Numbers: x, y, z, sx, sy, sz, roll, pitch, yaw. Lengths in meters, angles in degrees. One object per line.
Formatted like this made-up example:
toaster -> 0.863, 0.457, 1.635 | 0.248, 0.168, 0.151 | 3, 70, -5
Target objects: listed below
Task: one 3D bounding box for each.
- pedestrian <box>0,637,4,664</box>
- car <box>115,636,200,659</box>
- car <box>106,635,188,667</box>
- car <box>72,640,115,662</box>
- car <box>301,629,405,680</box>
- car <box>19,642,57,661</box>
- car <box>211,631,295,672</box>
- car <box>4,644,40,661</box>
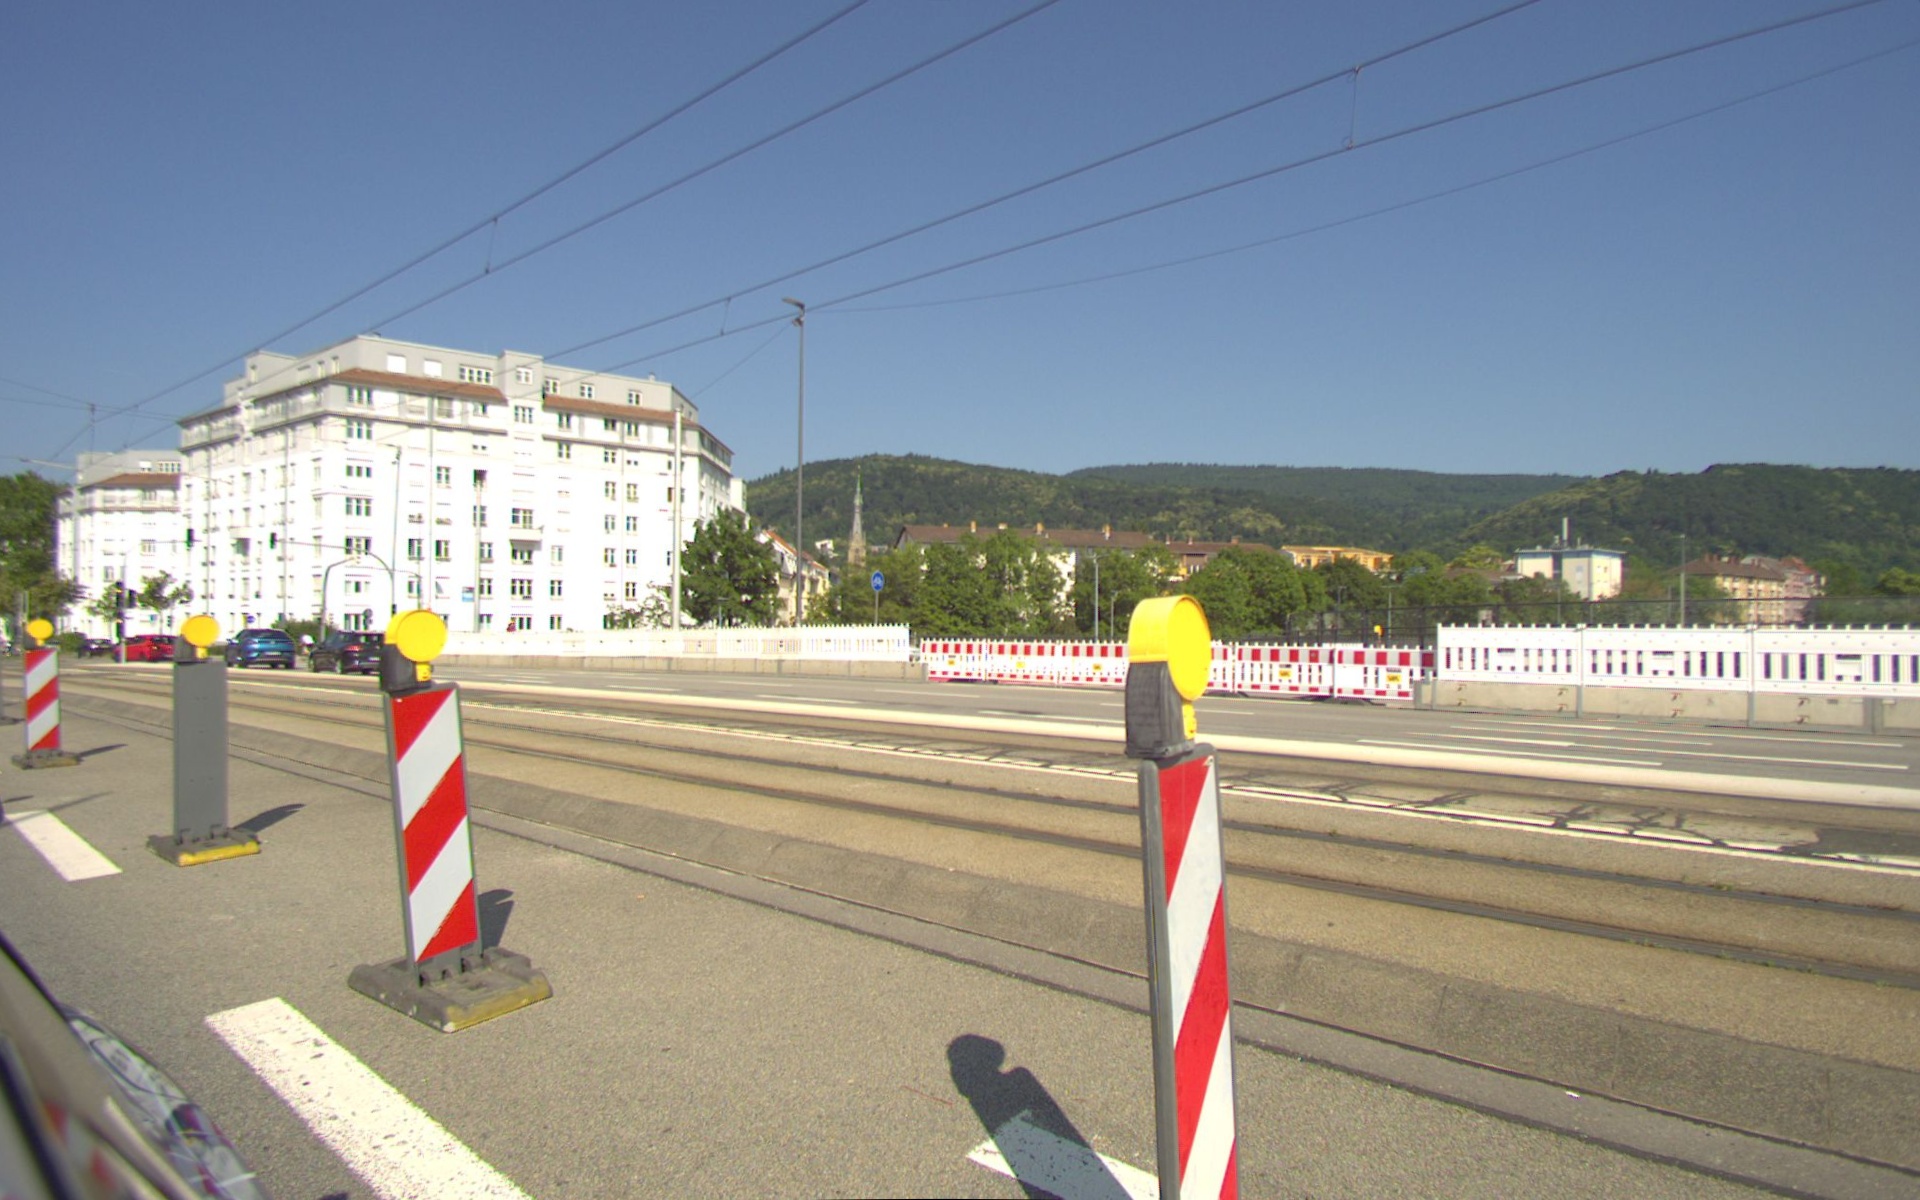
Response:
pedestrian -> -61.146, 3.180, 63.865 | 0.820, 1.719, 0.992 | -1, -1, 33
car -> -51.468, 3.034, 64.930 | 4.436, 1.423, 1.697 | 0, -2, 10
car -> -39.578, 2.475, 49.254 | 3.957, 1.448, 1.526 | -2, -1, 25
car -> -68.949, 4.042, 80.512 | 3.730, 1.650, 1.720 | -2, -2, 34
car -> -19.032, 1.698, 31.670 | 4.174, 1.512, 1.490 | -2, -4, 40
car -> -79.601, 4.438, 87.336 | 3.732, 1.496, 1.719 | -2, -2, 36
car -> -28.333, 2.059, 40.499 | 4.553, 1.562, 1.652 | -2, -3, 41
car -> -85.797, 4.766, 92.554 | 3.732, 1.496, 1.719 | -2, -2, 36
